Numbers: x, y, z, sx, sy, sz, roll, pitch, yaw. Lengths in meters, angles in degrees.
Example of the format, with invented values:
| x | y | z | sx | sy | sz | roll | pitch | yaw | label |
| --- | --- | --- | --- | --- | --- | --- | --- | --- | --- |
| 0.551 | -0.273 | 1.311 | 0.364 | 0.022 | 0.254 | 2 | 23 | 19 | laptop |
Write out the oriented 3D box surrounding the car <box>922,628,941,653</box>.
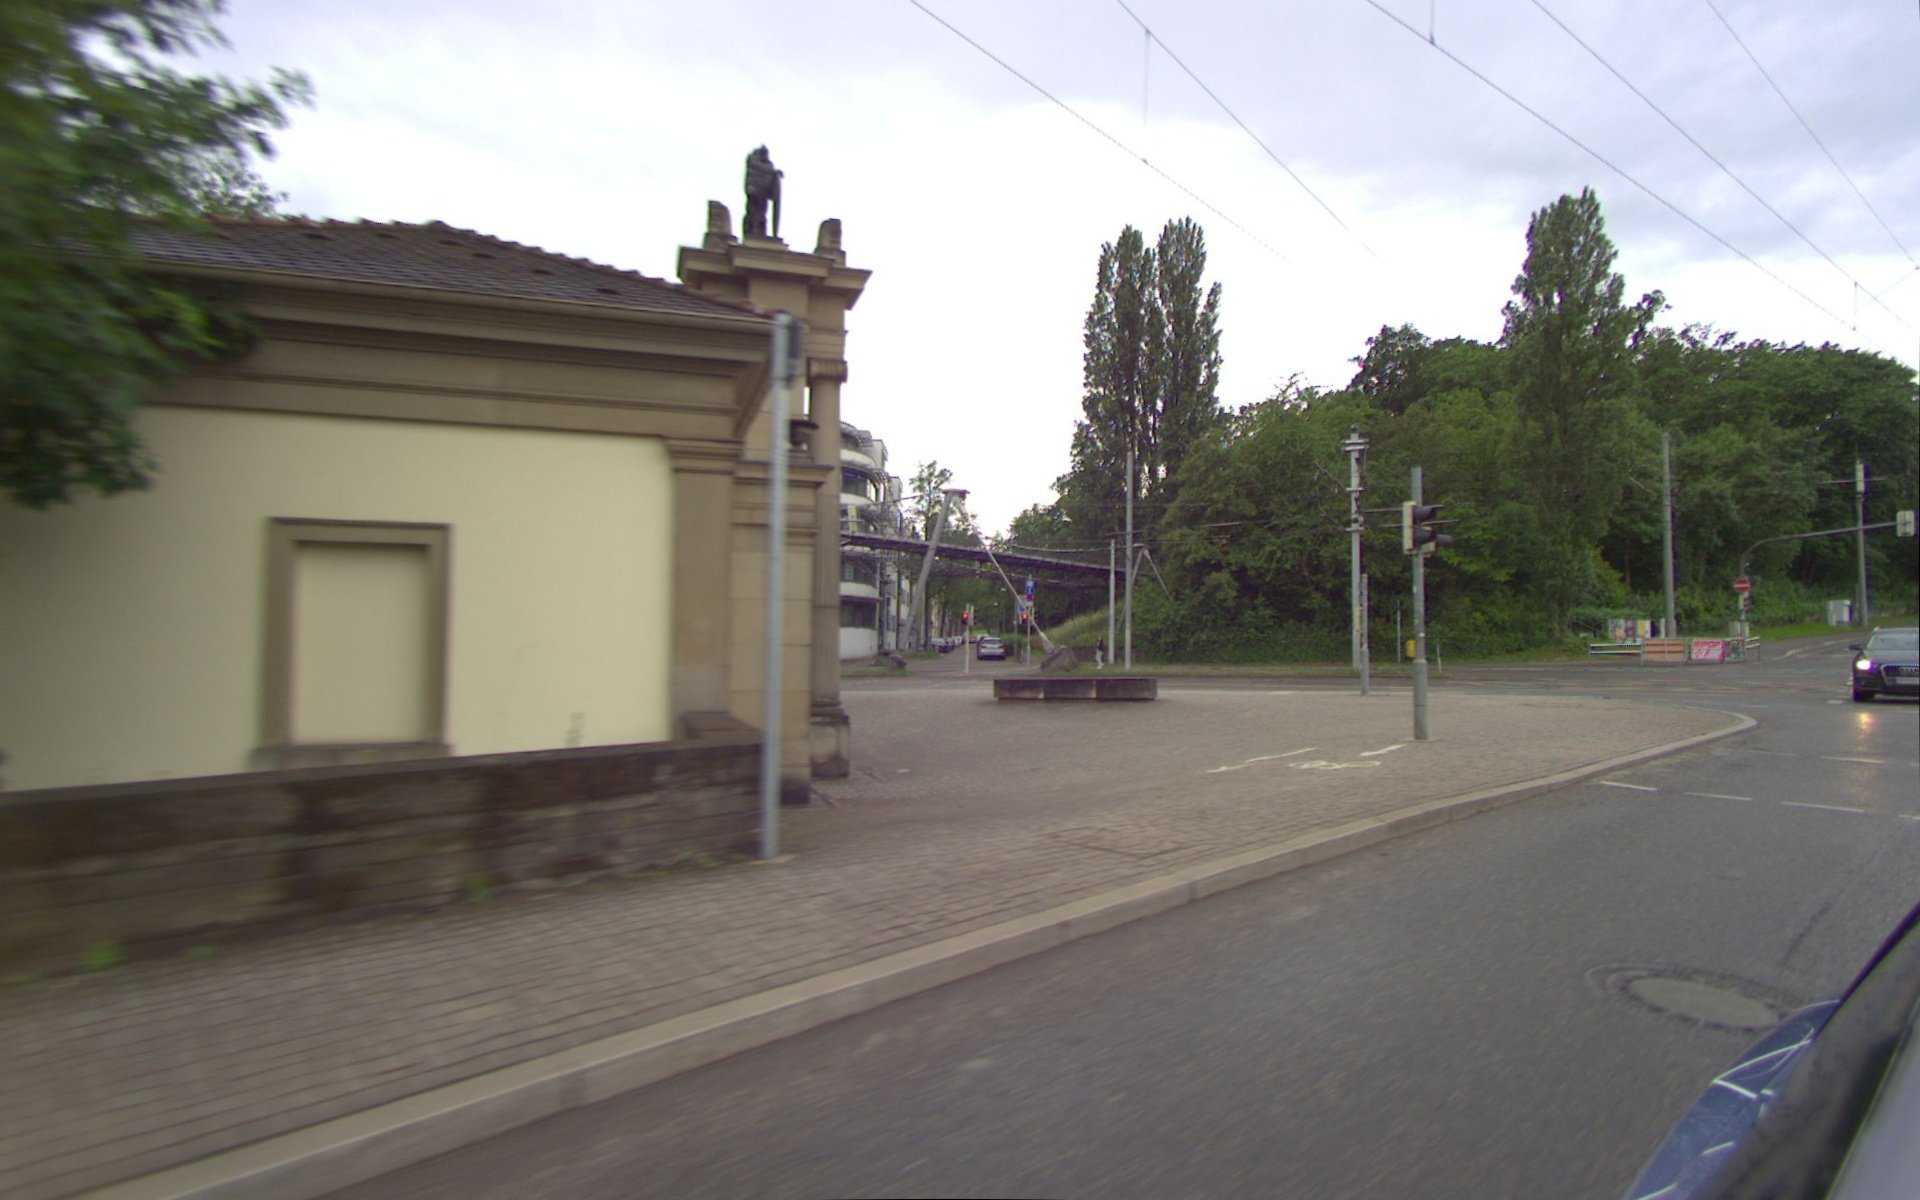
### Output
| x | y | z | sx | sy | sz | roll | pitch | yaw | label |
| --- | --- | --- | --- | --- | --- | --- | --- | --- | --- |
| -2.526 | 3.563 | 89.621 | 1.603 | 2.003 | 3.379 | -3 | -1 | -1 | car |

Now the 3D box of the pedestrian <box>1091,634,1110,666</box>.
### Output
| x | y | z | sx | sy | sz | roll | pitch | yaw | label |
| --- | --- | --- | --- | --- | --- | --- | --- | --- | --- |
| 6.996 | 2.492 | 50.390 | 0.650 | 1.575 | 0.801 | -2 | -3 | 32 | pedestrian |

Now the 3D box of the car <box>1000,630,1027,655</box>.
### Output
| x | y | z | sx | sy | sz | roll | pitch | yaw | label |
| --- | --- | --- | --- | --- | --- | --- | --- | --- | --- |
| 3.784 | 3.002 | 71.454 | 1.707 | 1.581 | 3.747 | -3 | -1 | 5 | car |

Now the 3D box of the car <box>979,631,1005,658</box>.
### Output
| x | y | z | sx | sy | sz | roll | pitch | yaw | label |
| --- | --- | --- | --- | --- | --- | --- | --- | --- | --- |
| 2.091 | 2.911 | 66.422 | 1.604 | 1.581 | 3.750 | -3 | -1 | 2 | car |

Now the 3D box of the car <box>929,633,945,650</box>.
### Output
| x | y | z | sx | sy | sz | roll | pitch | yaw | label |
| --- | --- | --- | --- | --- | --- | --- | --- | --- | --- |
| -2.196 | 3.966 | 97.224 | 1.528 | 1.413 | 3.151 | -3 | -1 | -1 | car |

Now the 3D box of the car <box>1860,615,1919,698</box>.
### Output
| x | y | z | sx | sy | sz | roll | pitch | yaw | label |
| --- | --- | --- | --- | --- | --- | --- | --- | --- | --- |
| 20.253 | 1.140 | 21.159 | 3.933 | 1.608 | 1.852 | 2 | -2 | -44 | car |
